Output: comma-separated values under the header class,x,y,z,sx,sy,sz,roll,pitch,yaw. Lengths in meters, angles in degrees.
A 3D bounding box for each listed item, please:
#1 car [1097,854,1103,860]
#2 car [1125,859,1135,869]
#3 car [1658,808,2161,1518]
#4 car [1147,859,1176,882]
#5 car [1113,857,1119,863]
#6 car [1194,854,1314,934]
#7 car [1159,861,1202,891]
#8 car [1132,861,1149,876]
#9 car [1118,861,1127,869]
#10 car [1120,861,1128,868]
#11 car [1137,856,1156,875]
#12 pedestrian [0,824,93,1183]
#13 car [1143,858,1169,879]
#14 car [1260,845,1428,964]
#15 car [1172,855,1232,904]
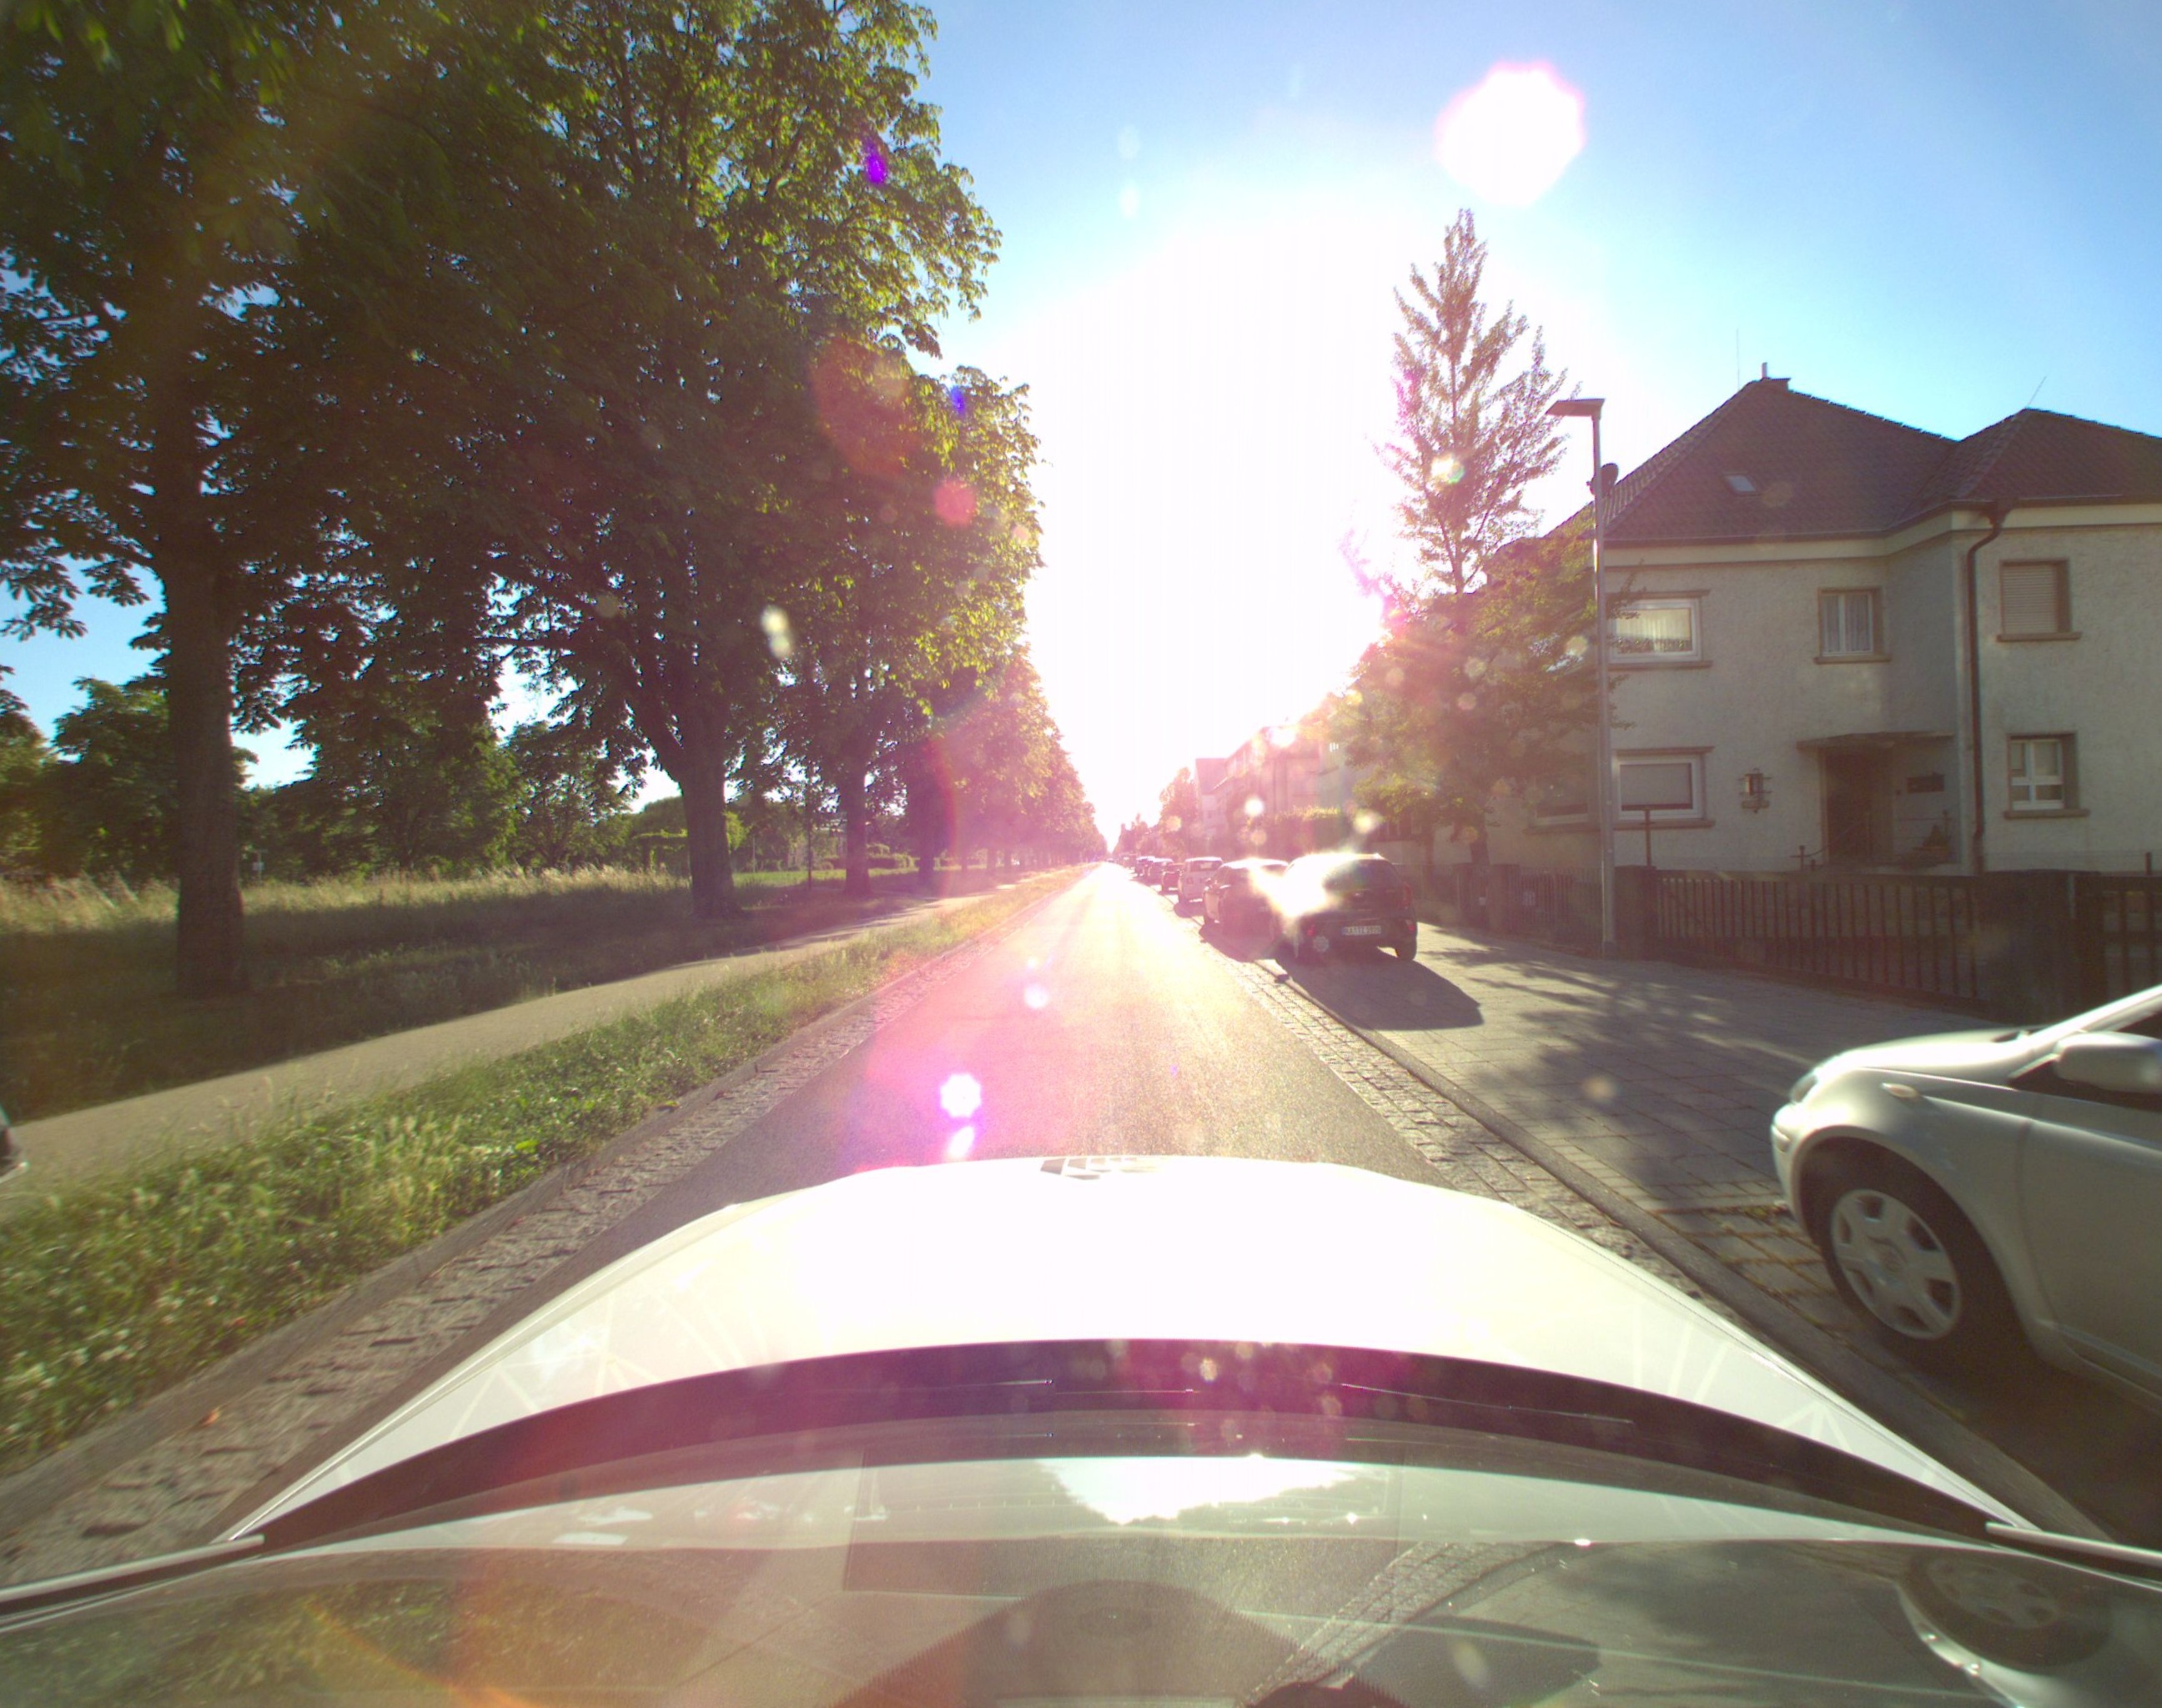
class,x,y,z,sx,sy,sz,roll,pitch,yaw
car,5.539,0.928,241.340,1.645,1.541,3.268,0,-1,2
car,7.923,1.649,131.127,1.645,1.541,3.269,0,-1,3
car,3.064,0.625,1.416,1.621,1.505,3.636,-3,0,3
car,4.992,1.013,50.758,1.645,1.396,3.269,-1,-1,3
car,9.164,1.547,214.947,1.645,1.541,3.268,0,-1,2
car,3.586,0.795,17.631,1.730,1.449,4.197,-2,-1,1
car,4.458,0.951,36.822,1.685,1.248,3.500,-1,-1,3
car,6.031,1.462,82.482,1.587,1.434,3.269,-1,-1,3
car,7.656,2.014,149.183,1.645,1.541,3.269,0,-1,3
car,9.205,2.230,175.245,1.645,1.541,3.269,0,-1,3
car,5.555,0.986,69.409,1.492,1.567,3.269,-1,-1,3
pedestrian,-5.283,0.678,3.554,0.779,1.614,0.953,-1,0,5
car,5.206,1.010,57.013,1.645,1.396,3.269,-1,-1,3
car,3.824,0.682,12.470,1.649,1.494,3.722,-2,-1,6
car,3.961,0.809,27.118,1.586,1.510,3.594,-1,-1,3
